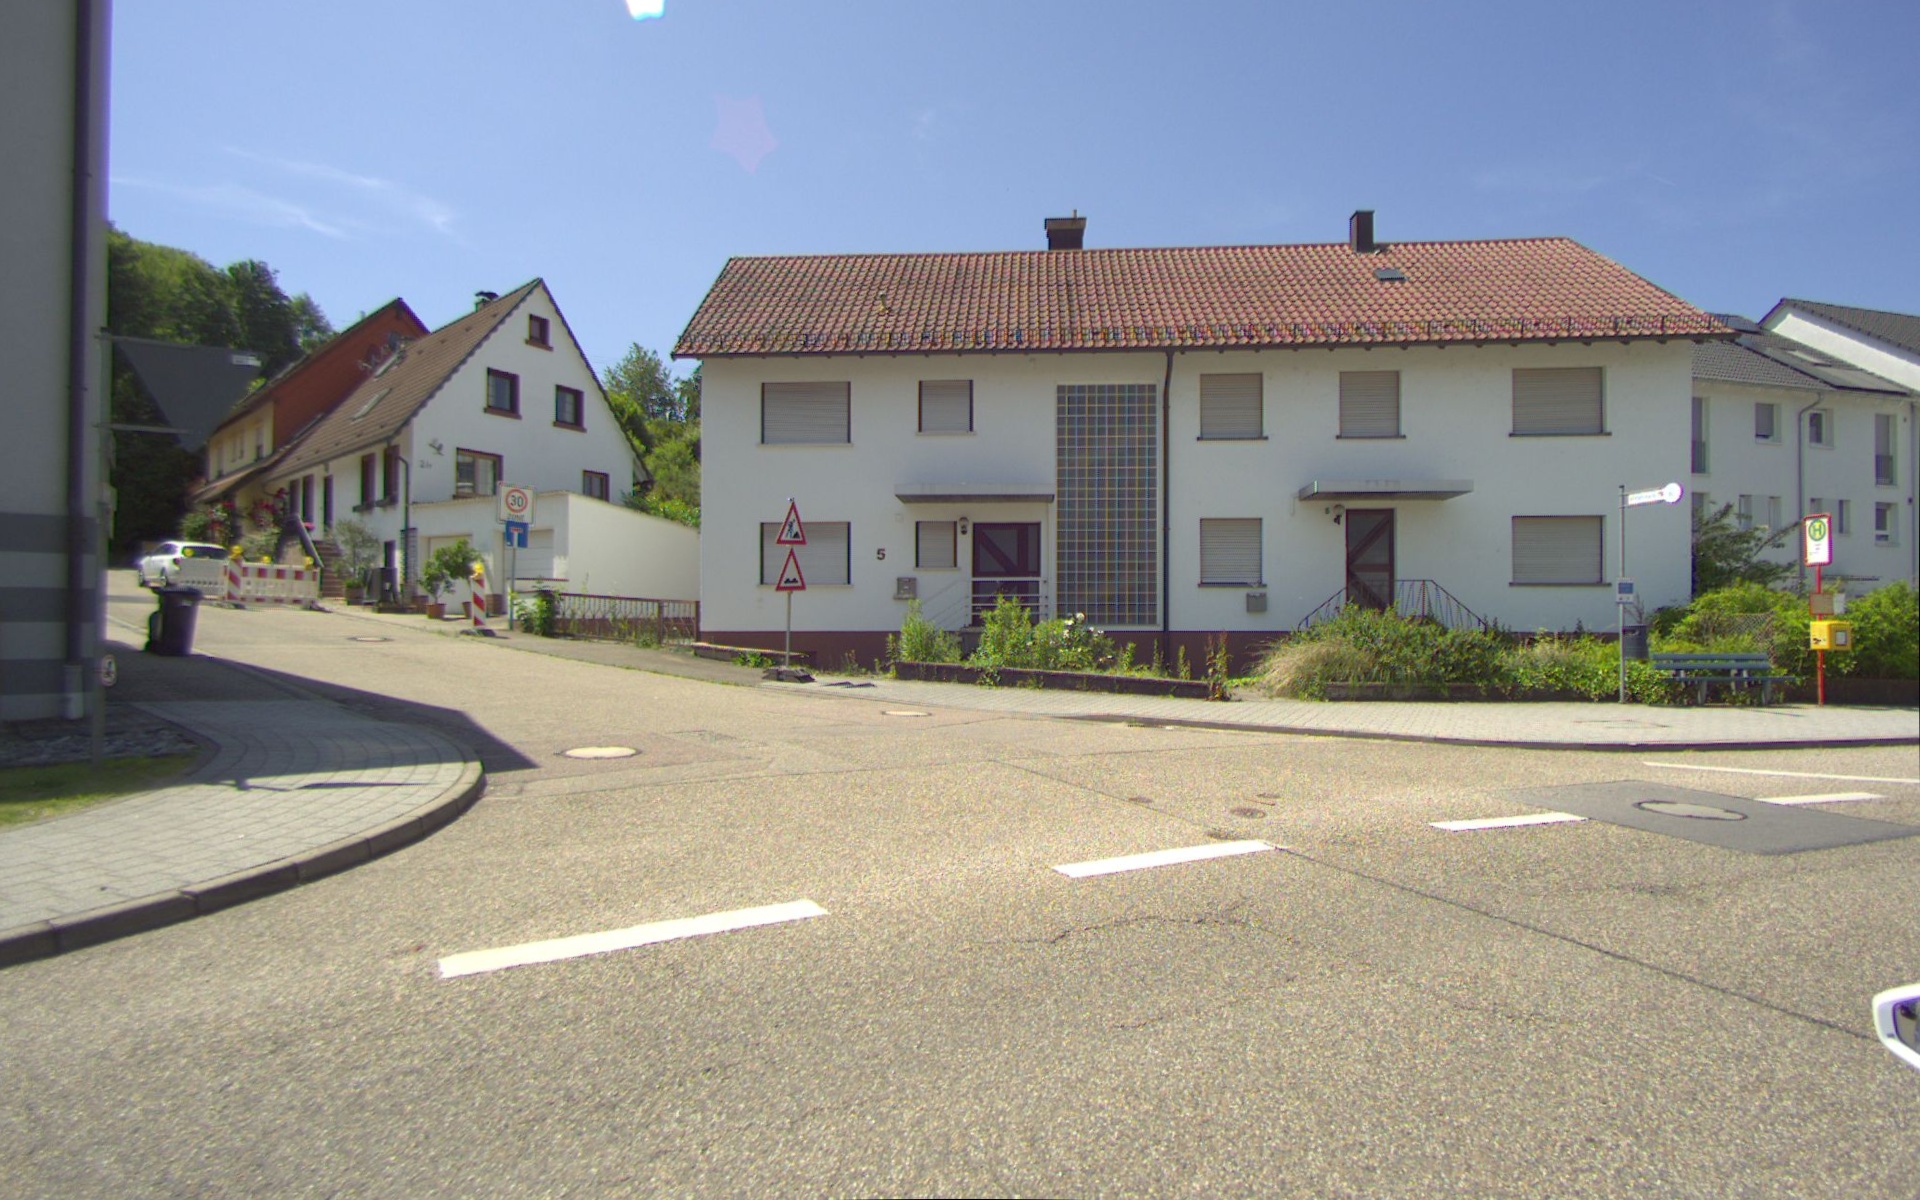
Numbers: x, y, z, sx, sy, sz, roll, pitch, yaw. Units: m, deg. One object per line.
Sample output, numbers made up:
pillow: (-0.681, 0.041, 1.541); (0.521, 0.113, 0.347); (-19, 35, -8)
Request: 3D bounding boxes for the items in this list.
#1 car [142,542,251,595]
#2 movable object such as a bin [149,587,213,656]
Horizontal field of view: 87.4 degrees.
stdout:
car: (-23.684, -0.989, 31.100); (4.320, 1.439, 1.900); (4, 1, 42)
movable object such as a bin: (-11.002, 0.300, 14.192); (0.591, 0.946, 0.598); (-1, -2, 41)
